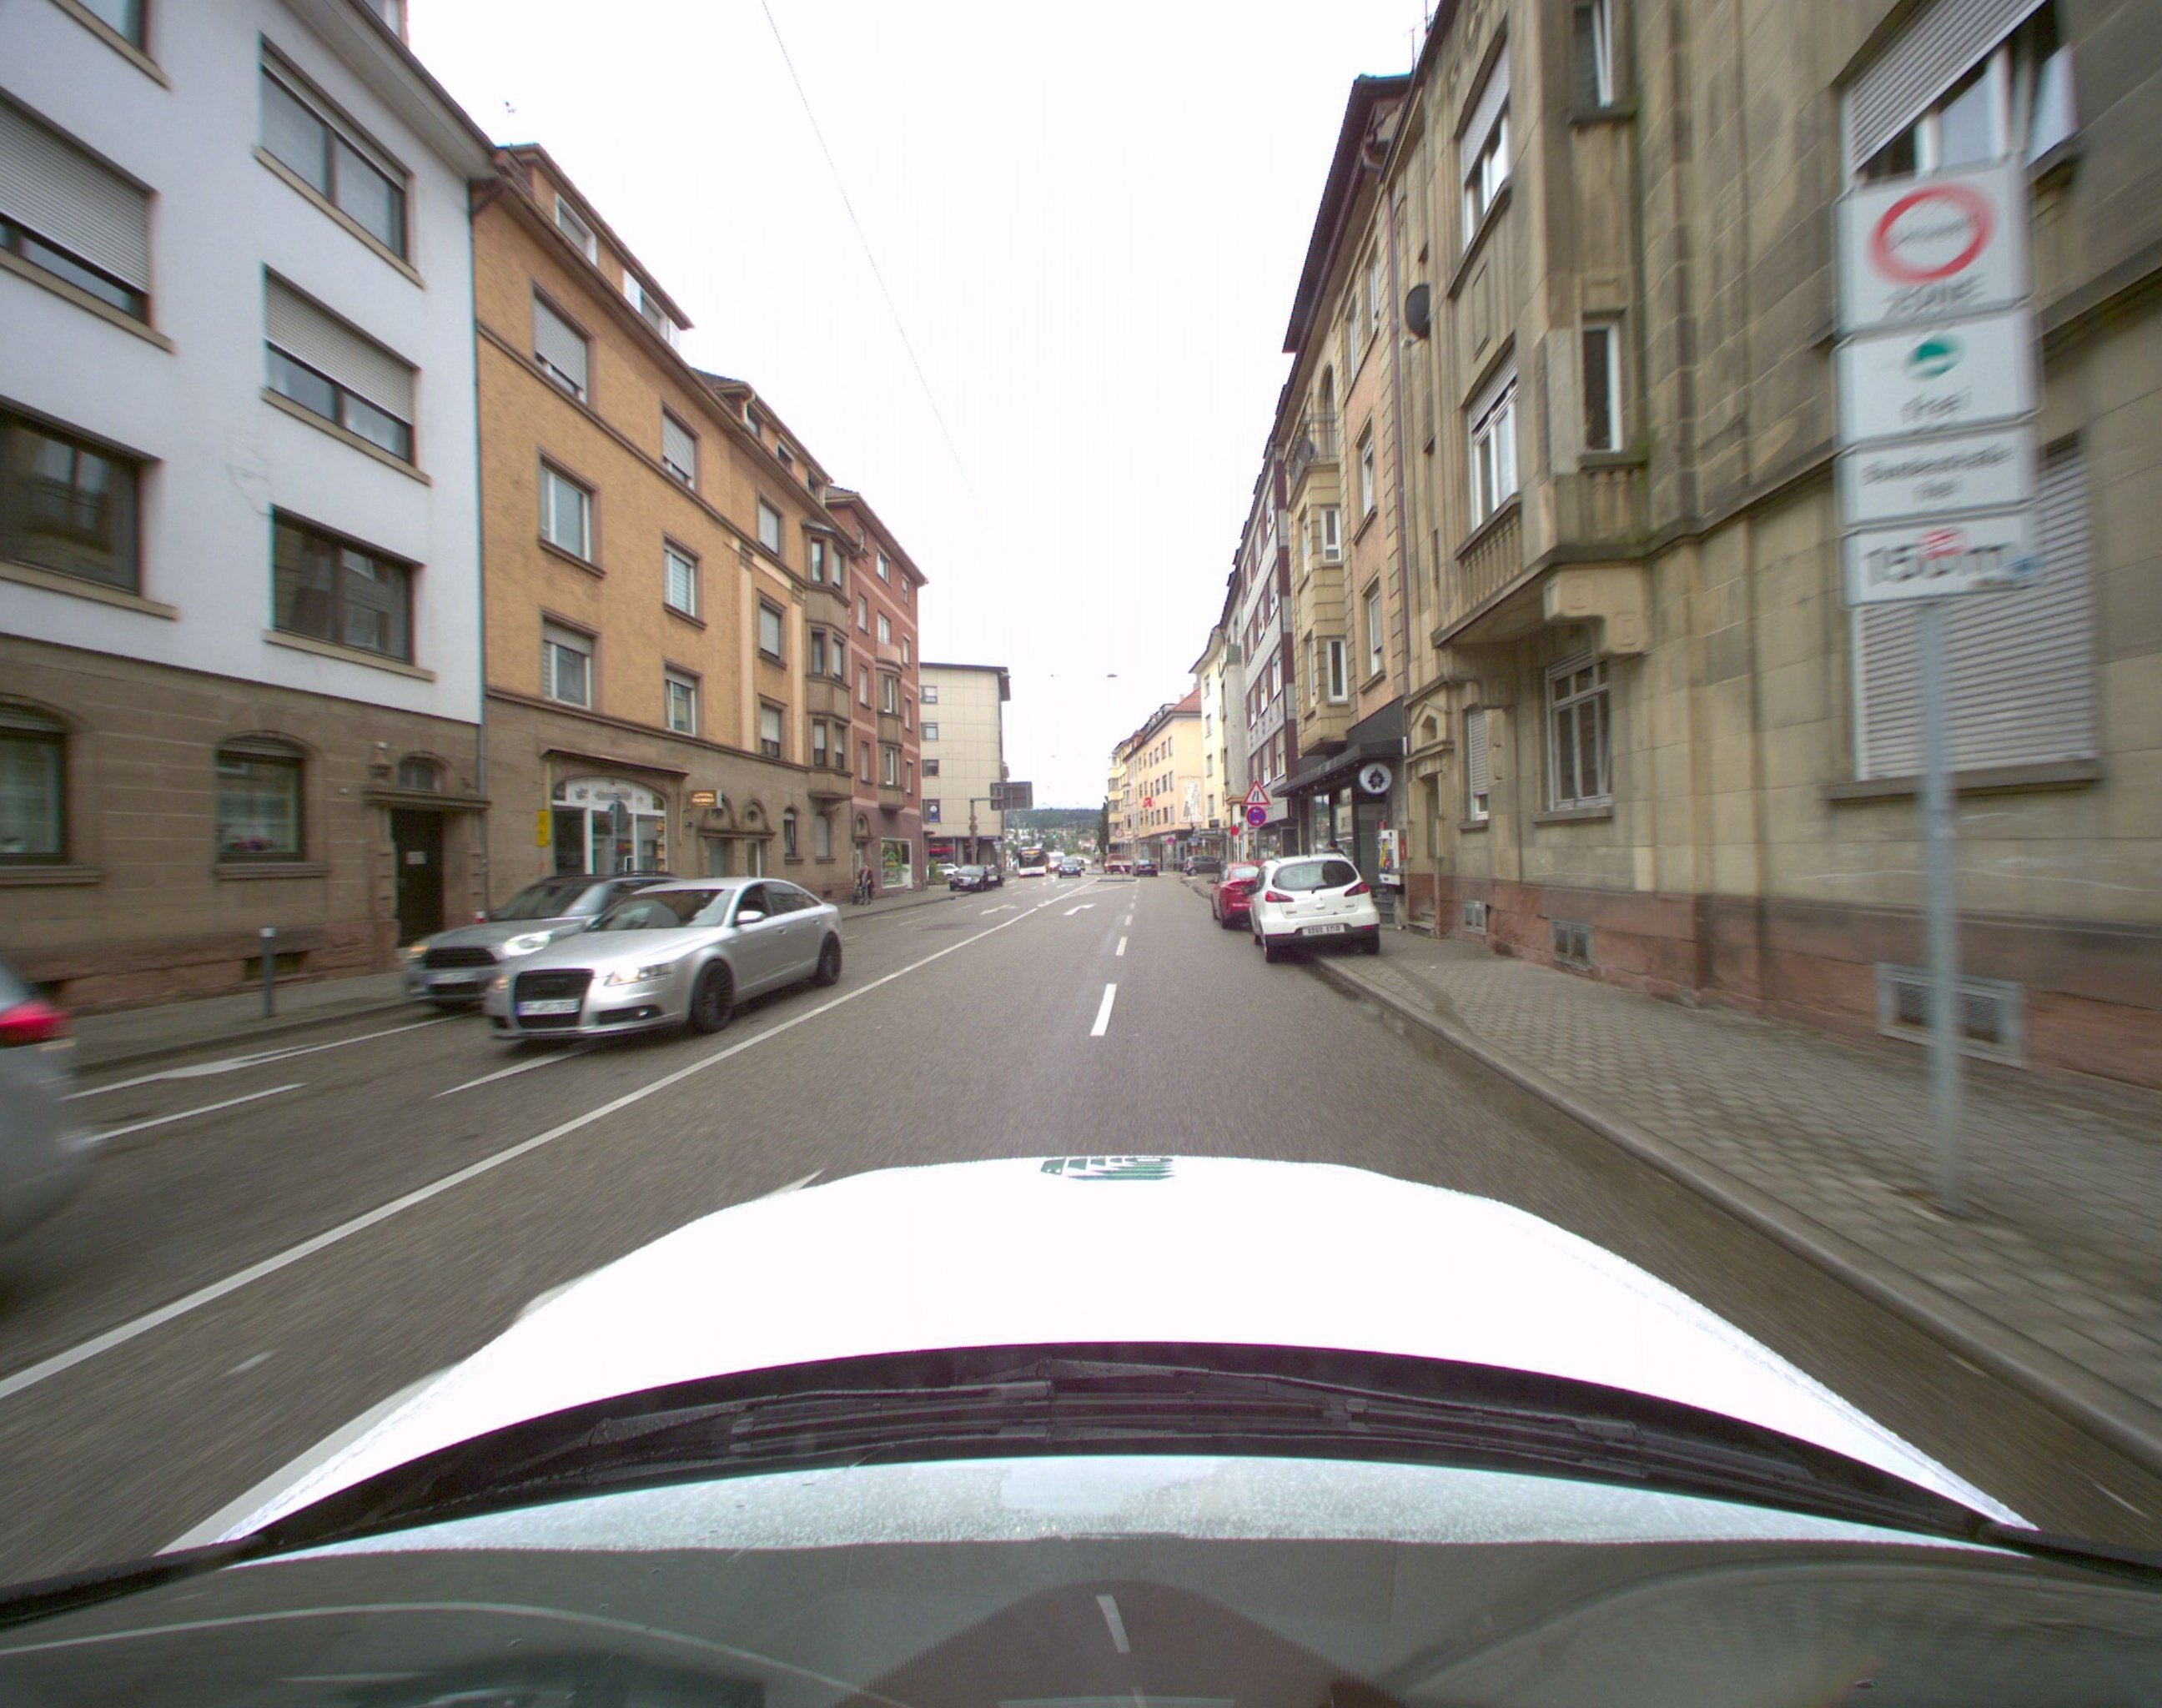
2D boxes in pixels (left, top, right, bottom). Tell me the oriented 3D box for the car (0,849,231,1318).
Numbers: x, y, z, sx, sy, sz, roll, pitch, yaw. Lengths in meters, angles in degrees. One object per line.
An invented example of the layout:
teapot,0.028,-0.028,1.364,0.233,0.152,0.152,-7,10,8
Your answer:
car,-4.754,0.799,1.255,1.934,1.583,4.525,-3,-1,4

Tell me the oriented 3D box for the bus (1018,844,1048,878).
bus,-4.922,0.781,82.867,2.754,3.188,8.897,-2,-1,-4

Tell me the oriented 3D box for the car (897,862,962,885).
car,-11.739,1.492,63.063,4.650,1.533,1.890,-2,-1,-25

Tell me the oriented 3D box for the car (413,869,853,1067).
car,-4.228,0.954,8.771,1.934,1.470,4.564,-3,-1,4

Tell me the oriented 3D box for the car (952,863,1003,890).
car,-5.749,1.232,45.725,1.841,1.397,4.799,1,0,5

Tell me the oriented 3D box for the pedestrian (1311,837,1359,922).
pedestrian,5.491,0.546,17.666,0.741,1.779,0.796,-2,-1,2

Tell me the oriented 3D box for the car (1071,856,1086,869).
car,-0.381,1.178,109.534,1.751,1.651,3.994,-2,-1,-4

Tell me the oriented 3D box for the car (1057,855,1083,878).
car,-0.912,1.016,65.901,1.751,1.651,4.299,-2,-1,-5

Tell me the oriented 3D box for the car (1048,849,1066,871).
car,-2.878,0.732,97.800,2.081,2.435,6.347,-2,-1,-2

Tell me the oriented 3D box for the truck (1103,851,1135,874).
truck,3.688,0.837,80.444,2.396,2.129,5.306,-2,-1,-4

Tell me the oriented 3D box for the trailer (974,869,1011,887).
trailer,-5.386,1.420,49.705,1.580,0.949,3.061,3,0,6

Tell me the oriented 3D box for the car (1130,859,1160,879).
car,5.076,1.172,64.682,1.751,1.479,3.994,-2,-1,-4

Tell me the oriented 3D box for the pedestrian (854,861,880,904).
pedestrian,-8.413,1.119,32.049,0.842,1.679,0.851,0,-1,-8

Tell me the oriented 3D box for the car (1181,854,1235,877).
car,9.874,0.917,63.355,3.815,1.574,1.935,-2,-1,-2

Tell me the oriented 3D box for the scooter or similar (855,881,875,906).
scooter or similar,-8.332,1.523,31.433,0.711,0.925,0.479,0,-1,-9

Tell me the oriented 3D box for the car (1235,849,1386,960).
car,3.616,0.728,13.583,1.639,1.494,4.455,-3,-1,6

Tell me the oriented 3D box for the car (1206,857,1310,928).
car,4.004,0.817,19.065,1.736,1.369,4.320,-3,0,4

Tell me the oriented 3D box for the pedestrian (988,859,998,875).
pedestrian,-8.893,1.279,82.374,0.943,1.589,0.834,-2,-1,-2

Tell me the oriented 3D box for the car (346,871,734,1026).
car,-6.859,1.083,11.061,1.970,1.595,4.346,-3,-1,7
